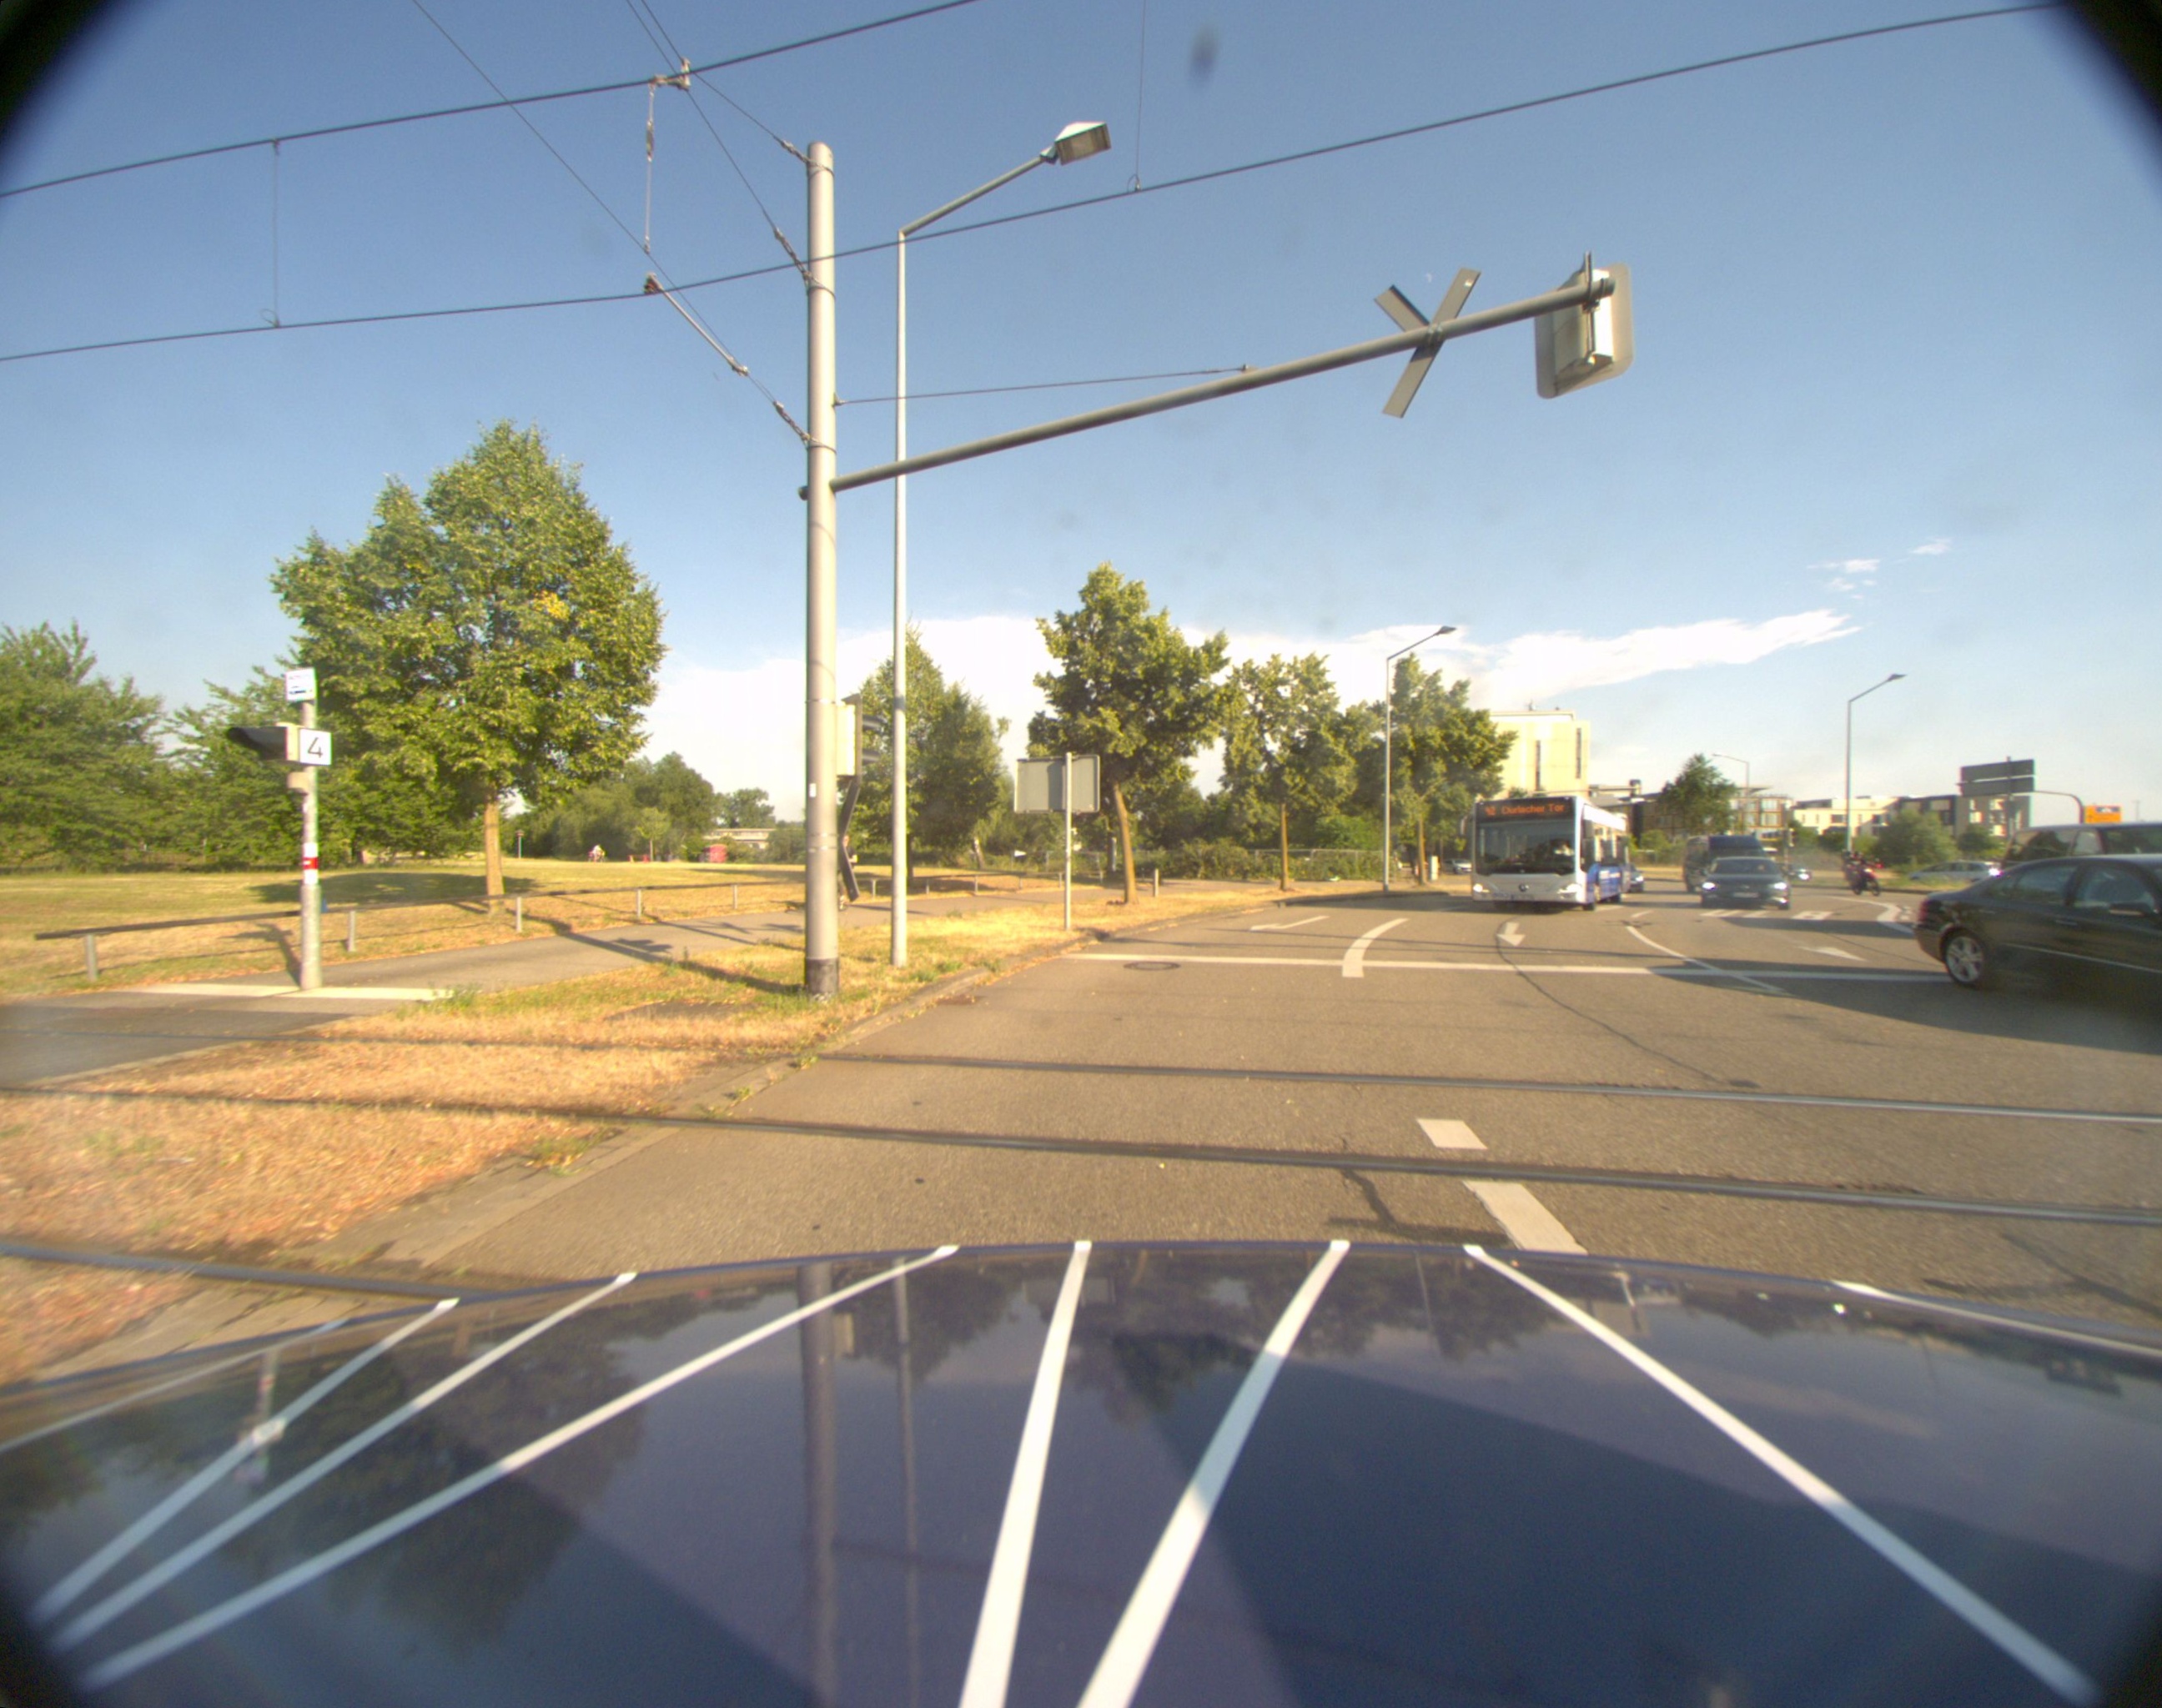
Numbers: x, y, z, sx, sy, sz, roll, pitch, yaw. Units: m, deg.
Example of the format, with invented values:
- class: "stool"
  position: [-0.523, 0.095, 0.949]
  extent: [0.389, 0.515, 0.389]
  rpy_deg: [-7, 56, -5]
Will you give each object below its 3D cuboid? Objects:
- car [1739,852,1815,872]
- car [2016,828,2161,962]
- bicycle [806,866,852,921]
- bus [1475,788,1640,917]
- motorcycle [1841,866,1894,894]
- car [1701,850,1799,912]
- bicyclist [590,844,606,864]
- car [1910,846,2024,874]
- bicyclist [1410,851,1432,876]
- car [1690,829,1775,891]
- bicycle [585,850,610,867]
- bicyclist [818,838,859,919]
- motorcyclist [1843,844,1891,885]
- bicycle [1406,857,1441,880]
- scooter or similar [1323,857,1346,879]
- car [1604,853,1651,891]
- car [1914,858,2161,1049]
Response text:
- class: "car"
  position: [50.016, 0.535, 54.676]
  extent: [1.482, 1.341, 3.825]
  rpy_deg: [0, 1, -14]
- class: "car"
  position: [16.921, 0.565, 11.435]
  extent: [1.857, 1.921, 5.022]
  rpy_deg: [-1, 0, 29]
- class: "bicycle"
  position: [-5.808, 0.872, 17.612]
  extent: [0.416, 1.152, 1.891]
  rpy_deg: [1, 1, 1]
- class: "bus"
  position: [14.902, -0.066, 23.133]
  extent: [2.589, 3.025, 11.744]
  rpy_deg: [-1, 0, 40]
- class: "motorcycle"
  position: [31.131, 1.006, 30.131]
  extent: [0.952, 0.956, 2.897]
  rpy_deg: [1, 1, 36]
- class: "car"
  position: [18.786, 0.704, 21.493]
  extent: [1.806, 1.501, 4.170]
  rpy_deg: [-2, 0, 38]
- class: "bicyclist"
  position: [-43.508, 0.000, 68.403]
  extent: [0.928, 1.769, 0.638]
  rpy_deg: [-2, 1, 1]
- class: "car"
  position: [50.685, 0.289, 43.576]
  extent: [1.657, 1.516, 3.939]
  rpy_deg: [0, 1, -10]
- class: "bicyclist"
  position: [18.322, 0.497, 40.949]
  extent: [0.981, 1.355, 0.558]
  rpy_deg: [0, 1, -21]
- class: "car"
  position: [28.731, 0.214, 33.712]
  extent: [1.977, 2.503, 5.920]
  rpy_deg: [-2, 0, 32]
- class: "bicycle"
  position: [-43.510, 0.418, 68.395]
  extent: [1.942, 1.441, 0.392]
  rpy_deg: [-2, 1, 1]
- class: "bicyclist"
  position: [-5.631, 0.550, 17.683]
  extent: [0.620, 1.819, 0.830]
  rpy_deg: [2, 1, 1]
- class: "motorcyclist"
  position: [31.004, 0.396, 29.992]
  extent: [1.038, 1.581, 1.442]
  rpy_deg: [1, 1, 36]
- class: "bicycle"
  position: [18.588, 0.807, 41.236]
  extent: [1.830, 1.149, 0.491]
  rpy_deg: [-3, -2, -21]
- class: "scooter or similar"
  position: [13.475, 0.757, 40.411]
  extent: [1.172, 1.153, 0.342]
  rpy_deg: [0, 1, -22]
- class: "car"
  position: [25.454, 0.817, 35.483]
  extent: [1.634, 1.593, 3.532]
  rpy_deg: [-2, 0, 33]
- class: "car"
  position: [9.694, 0.819, 6.299]
  extent: [1.808, 1.428, 4.499]
  rpy_deg: [-2, 0, 19]
